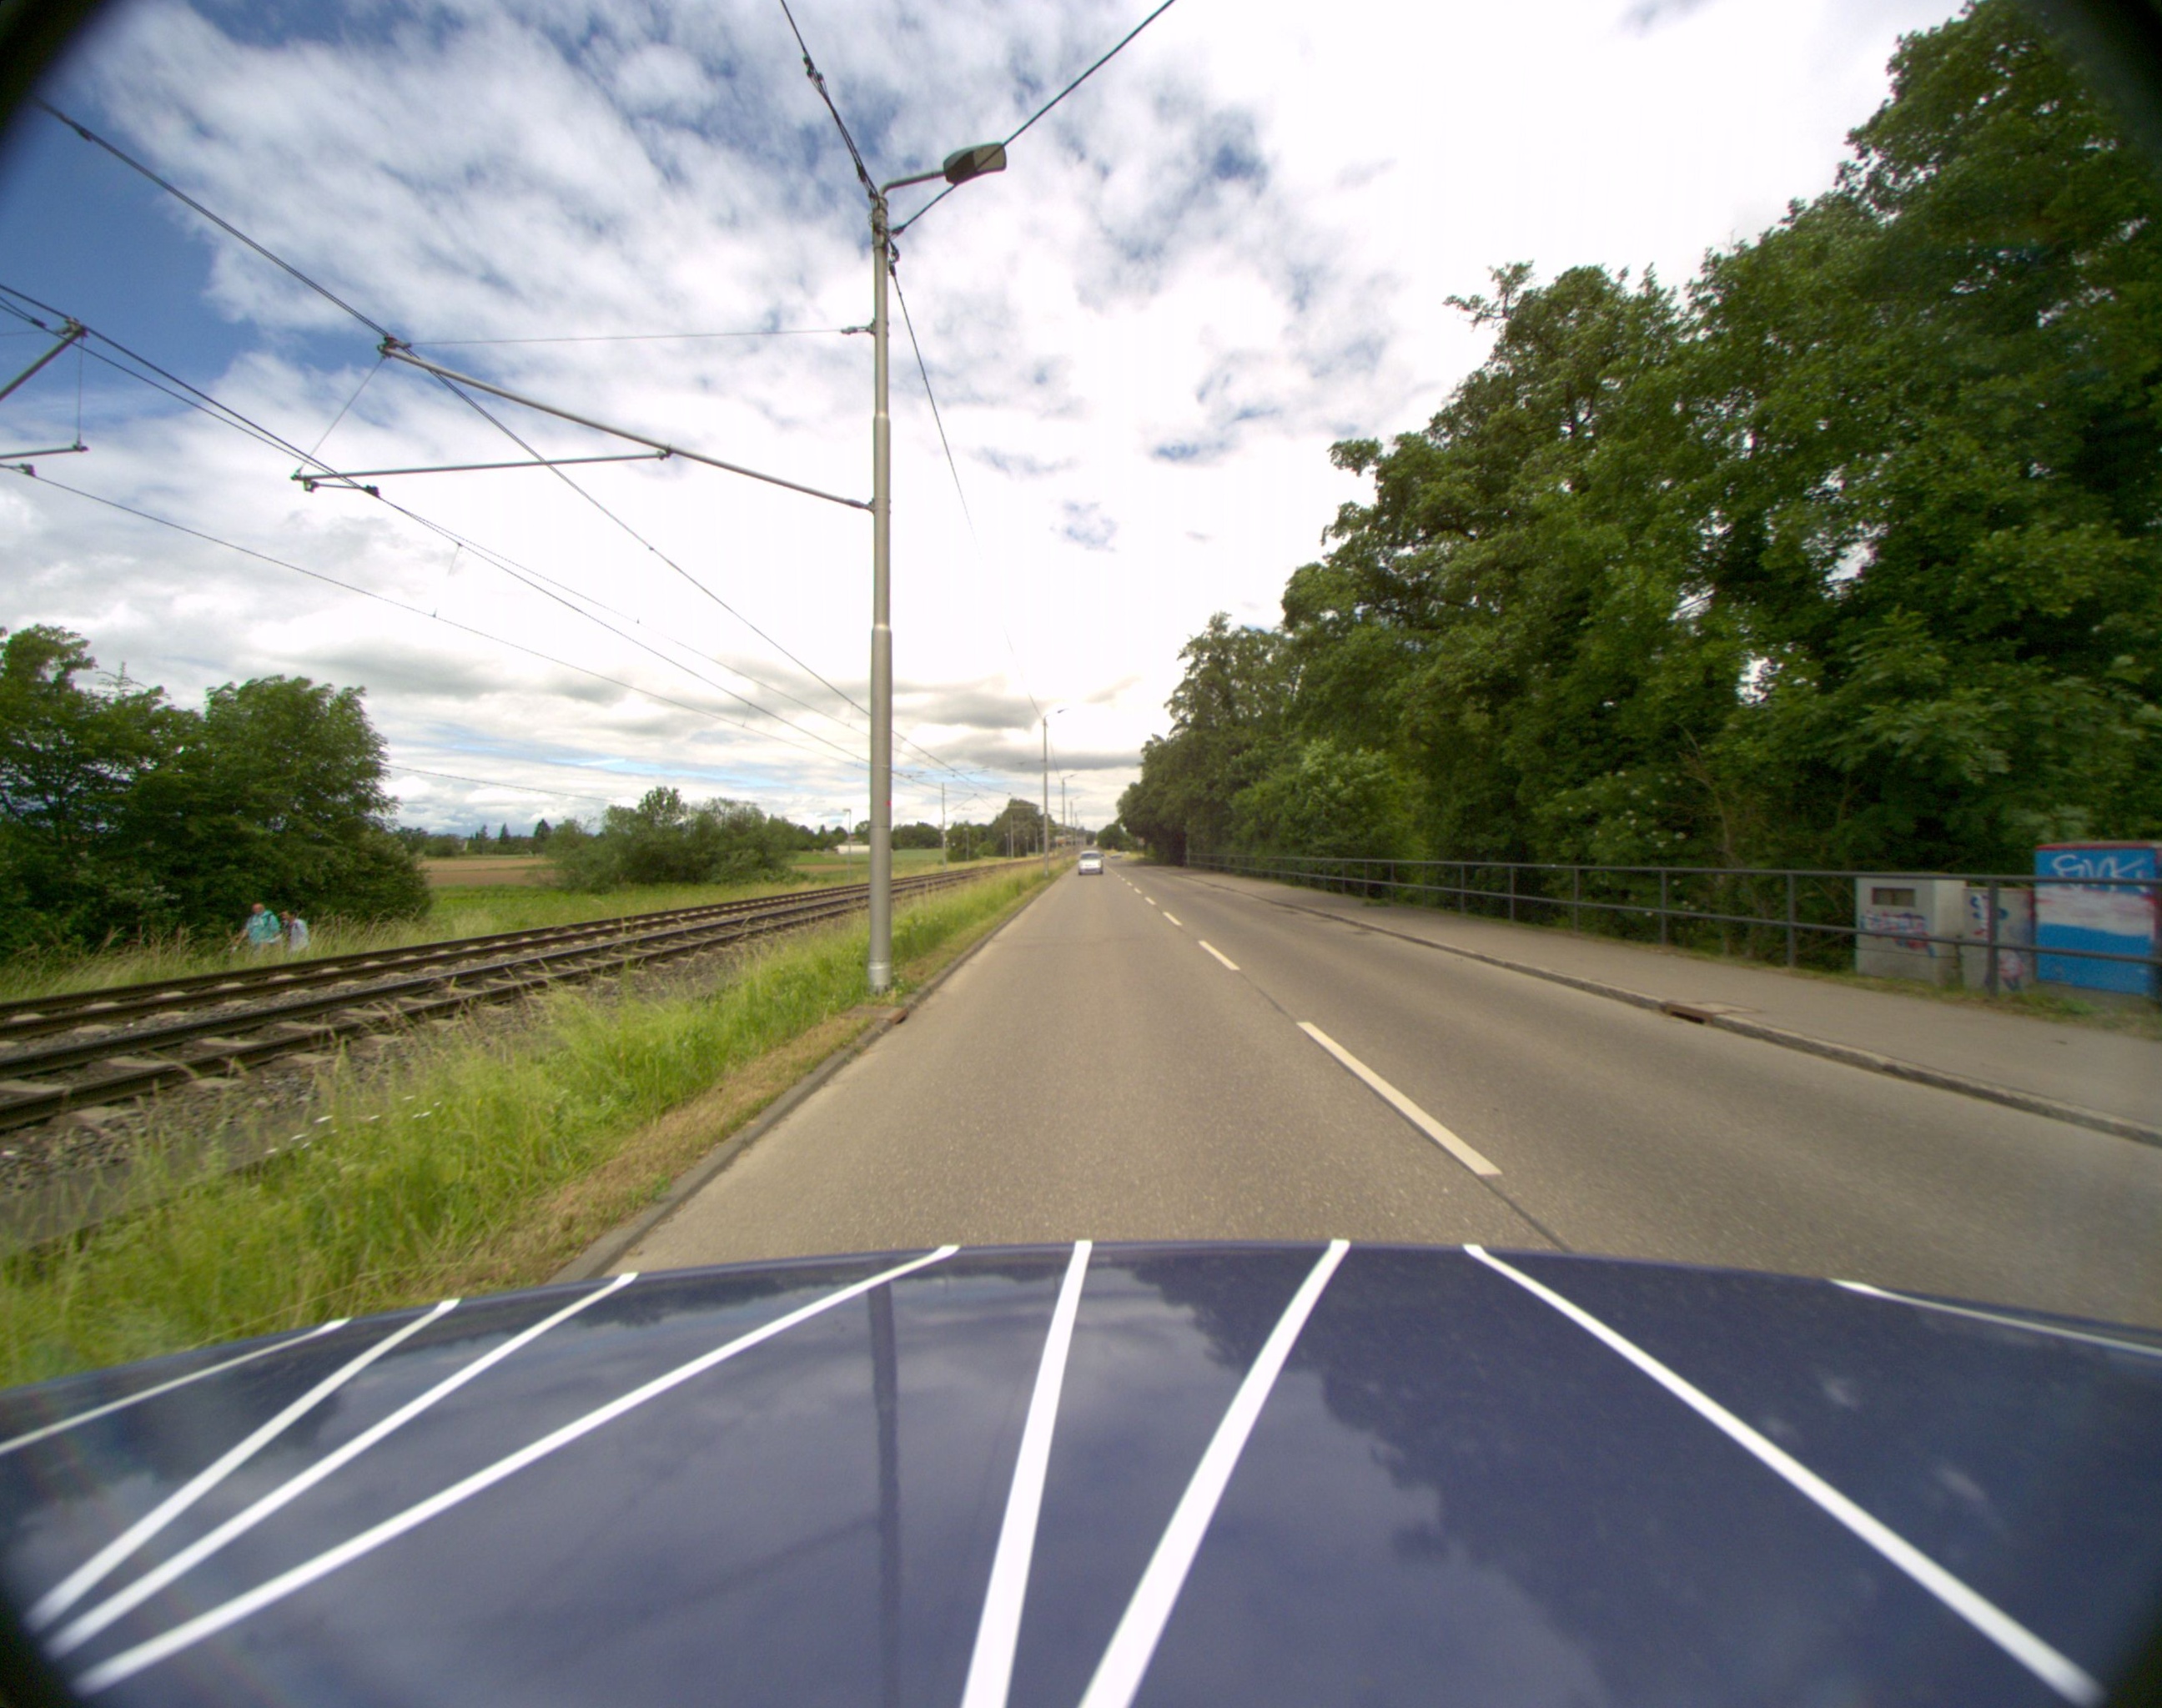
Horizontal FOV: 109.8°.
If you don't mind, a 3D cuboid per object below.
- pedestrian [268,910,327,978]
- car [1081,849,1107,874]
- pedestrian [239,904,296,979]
[{"bbox_3d":[-17.599,2.007,17.072,0.598,1.422,0.667,-2,1,20],"label":"pedestrian"},{"bbox_3d":[0.859,0.488,51.215,1.643,1.510,3.868,-2,1,1],"label":"car"},{"bbox_3d":[-18.497,1.981,17.287,0.617,1.613,0.584,-2,1,12],"label":"pedestrian"}]
